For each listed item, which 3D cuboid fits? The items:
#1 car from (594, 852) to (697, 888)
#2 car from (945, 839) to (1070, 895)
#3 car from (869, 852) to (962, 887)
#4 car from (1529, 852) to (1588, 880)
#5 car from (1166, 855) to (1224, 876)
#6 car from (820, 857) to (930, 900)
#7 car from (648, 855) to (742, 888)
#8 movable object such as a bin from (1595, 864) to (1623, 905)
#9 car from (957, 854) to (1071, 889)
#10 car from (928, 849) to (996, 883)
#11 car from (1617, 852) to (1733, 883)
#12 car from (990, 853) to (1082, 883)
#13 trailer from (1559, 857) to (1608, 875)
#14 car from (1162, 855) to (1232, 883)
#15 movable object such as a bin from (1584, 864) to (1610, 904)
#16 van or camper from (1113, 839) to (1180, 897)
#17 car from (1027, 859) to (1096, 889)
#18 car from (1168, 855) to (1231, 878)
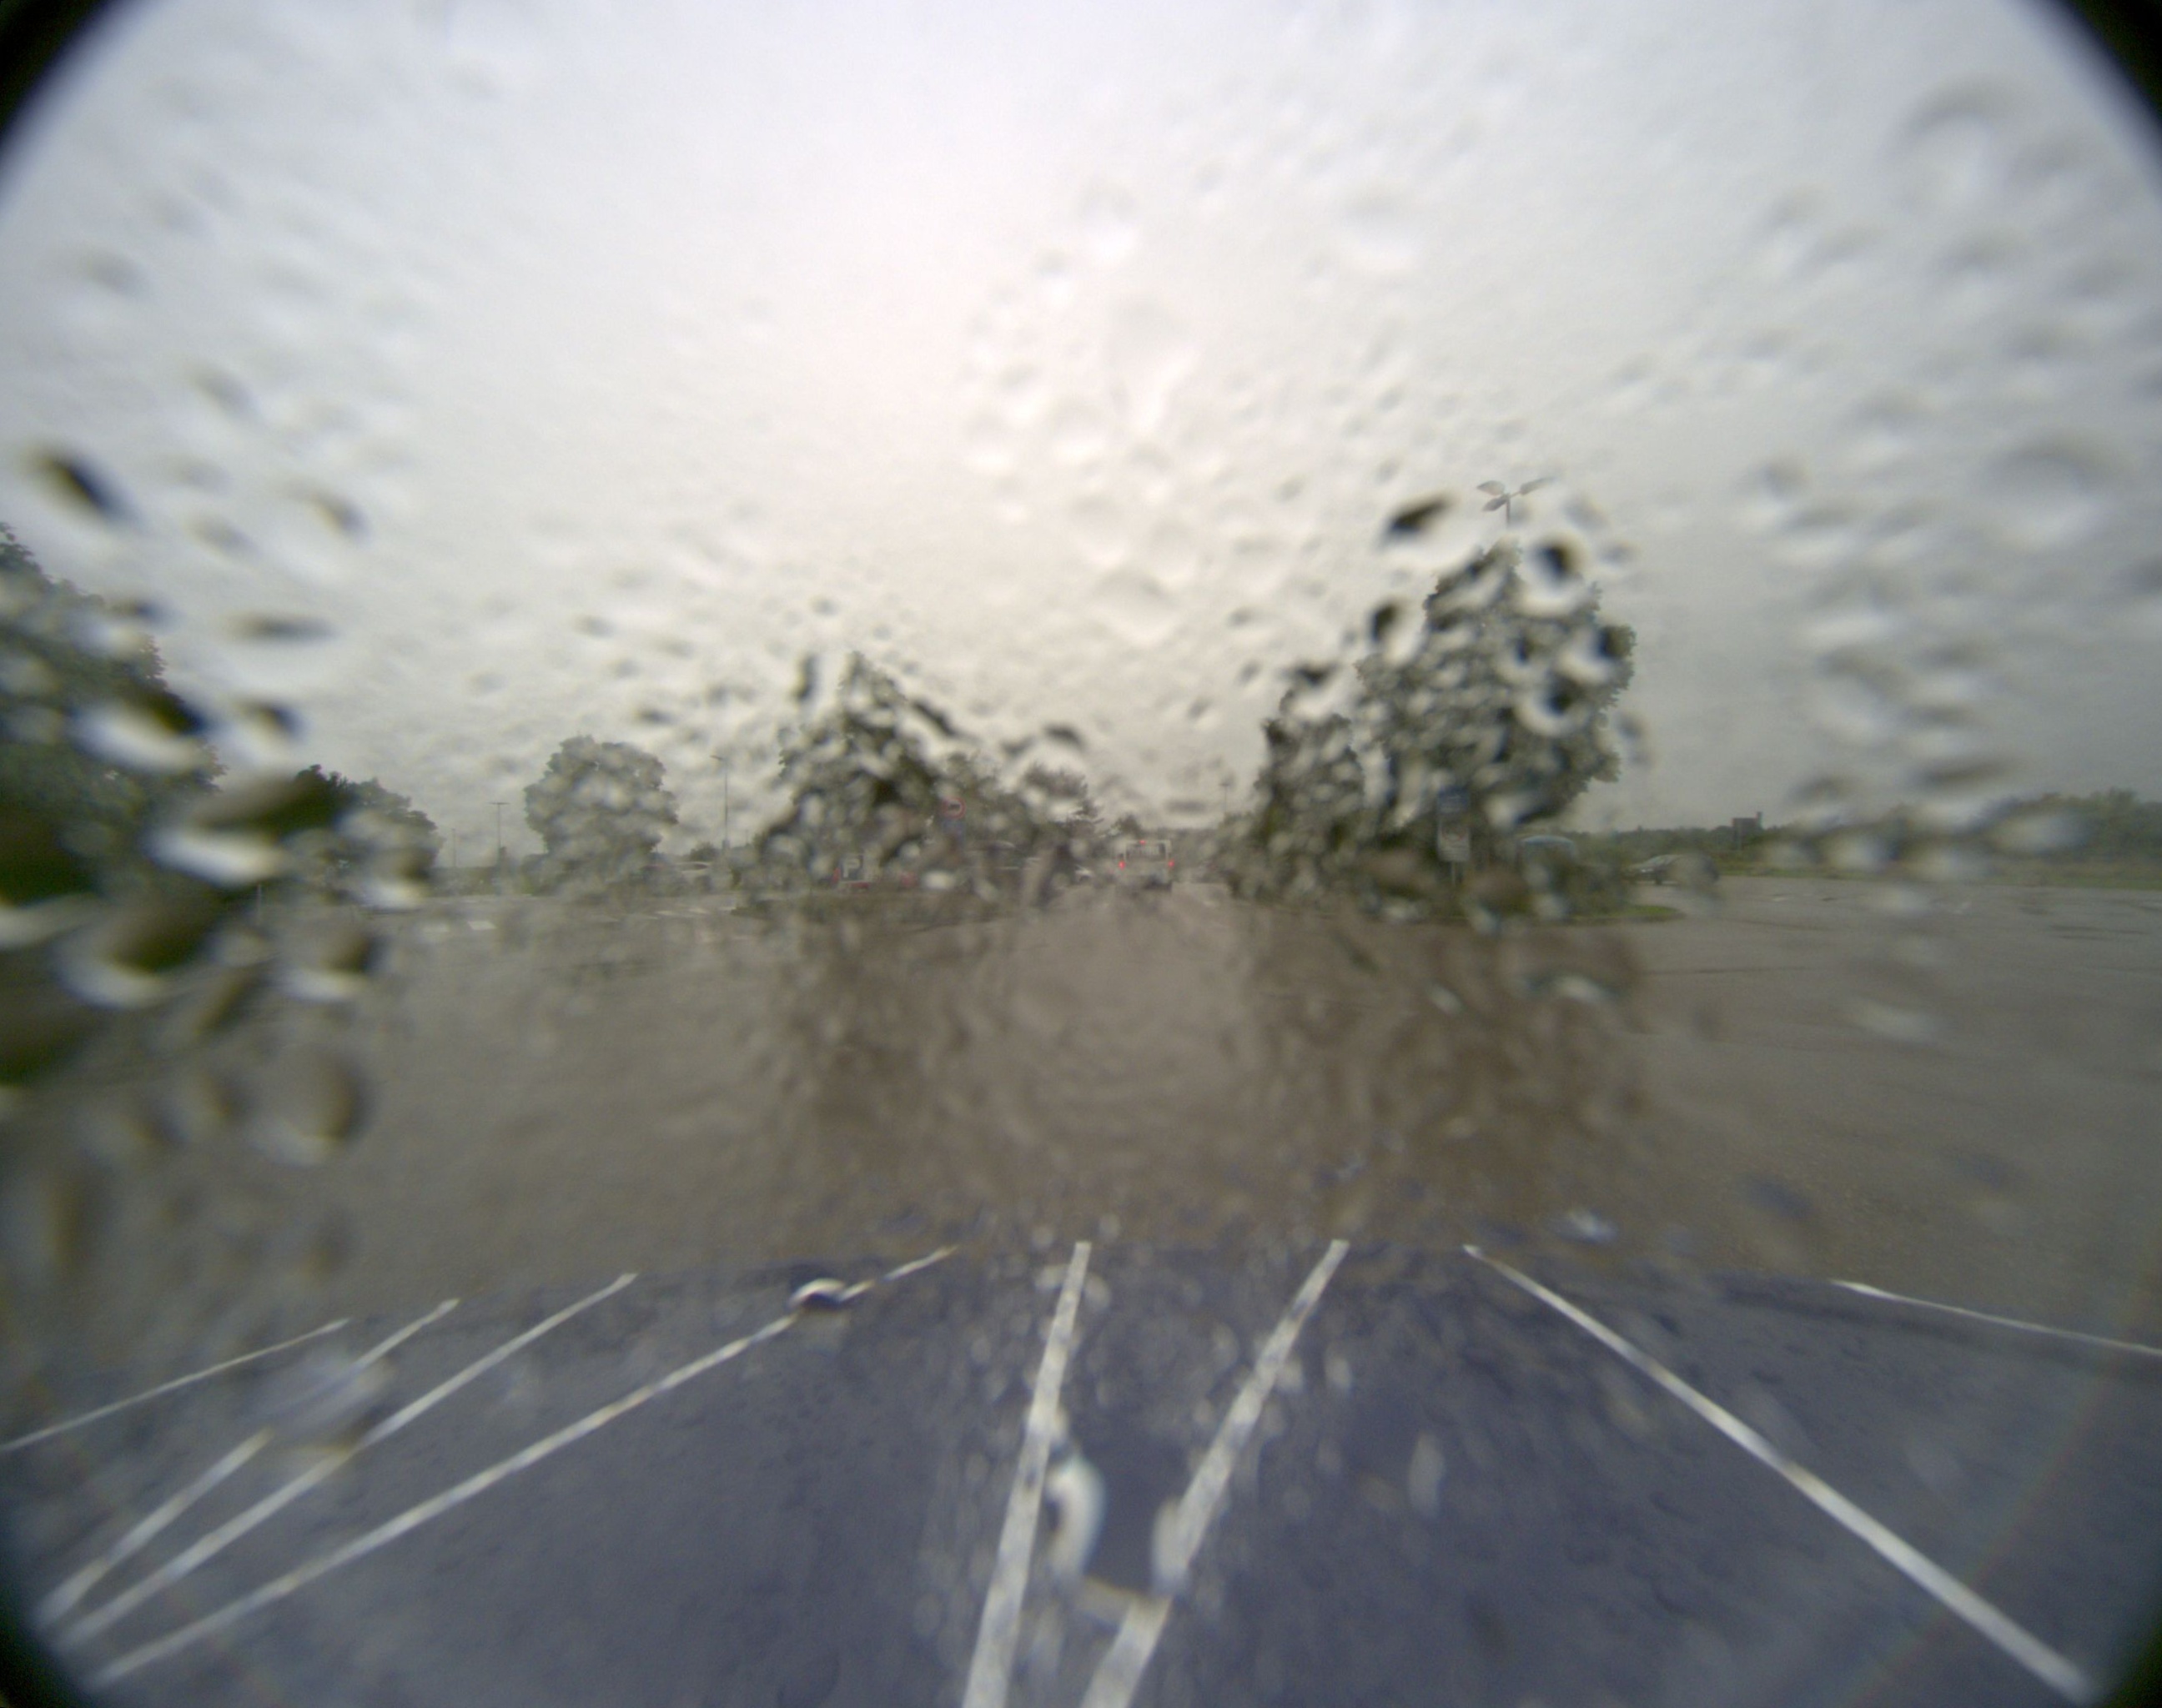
[{"bbox_3d":[-21.026,0.749,36.740,4.043,1.683,1.800,0,1,7],"label":"car"},{"bbox_3d":[-2.953,0.500,31.122,4.762,2.176,2.001,0,1,6],"label":"car"},{"bbox_3d":[-8.608,0.811,39.858,4.396,1.768,1.925,0,1,3],"label":"car"},{"bbox_3d":[27.946,0.688,44.409,4.064,1.546,1.545,0,1,-37],"label":"car"},{"bbox_3d":[8.294,0.863,55.604,4.089,1.488,1.766,0,1,6],"label":"car"},{"bbox_3d":[-9.307,1.097,34.521,4.396,1.874,1.925,0,1,3],"label":"car"},{"bbox_3d":[-20.172,0.898,39.777,4.044,1.683,1.713,0,1,5],"label":"car"},{"bbox_3d":[12.225,0.695,17.600,0.449,0.933,0.489,1,1,26],"label":"movable object such as a bin"},{"bbox_3d":[-2.902,0.770,33.741,4.762,1.464,1.886,0,1,6],"label":"car"},{"bbox_3d":[-7.117,0.697,45.672,3.782,2.002,1.787,-1,0,2],"label":"car"},{"bbox_3d":[28.803,0.653,36.991,4.071,1.425,1.781,0,0,11],"label":"car"},{"bbox_3d":[-2.441,0.762,42.044,4.762,1.578,2.001,0,1,6],"label":"car"},{"bbox_3d":[30.825,0.765,46.596,3.036,1.061,1.585,1,-1,-37],"label":"trailer"},{"bbox_3d":[6.892,0.860,45.417,4.089,1.619,1.787,0,1,6],"label":"car"},{"bbox_3d":[12.324,0.706,18.148,0.449,0.912,0.489,1,1,26],"label":"movable object such as a bin"},{"bbox_3d":[2.326,0.493,28.237,2.193,1.933,5.198,-1,0,2],"label":"van or camper"},{"bbox_3d":[-1.345,1.453,55.009,4.762,2.069,2.001,0,1,6],"label":"car"},{"bbox_3d":[7.900,0.832,50.805,4.089,1.488,1.766,0,1,6],"label":"car"}]
